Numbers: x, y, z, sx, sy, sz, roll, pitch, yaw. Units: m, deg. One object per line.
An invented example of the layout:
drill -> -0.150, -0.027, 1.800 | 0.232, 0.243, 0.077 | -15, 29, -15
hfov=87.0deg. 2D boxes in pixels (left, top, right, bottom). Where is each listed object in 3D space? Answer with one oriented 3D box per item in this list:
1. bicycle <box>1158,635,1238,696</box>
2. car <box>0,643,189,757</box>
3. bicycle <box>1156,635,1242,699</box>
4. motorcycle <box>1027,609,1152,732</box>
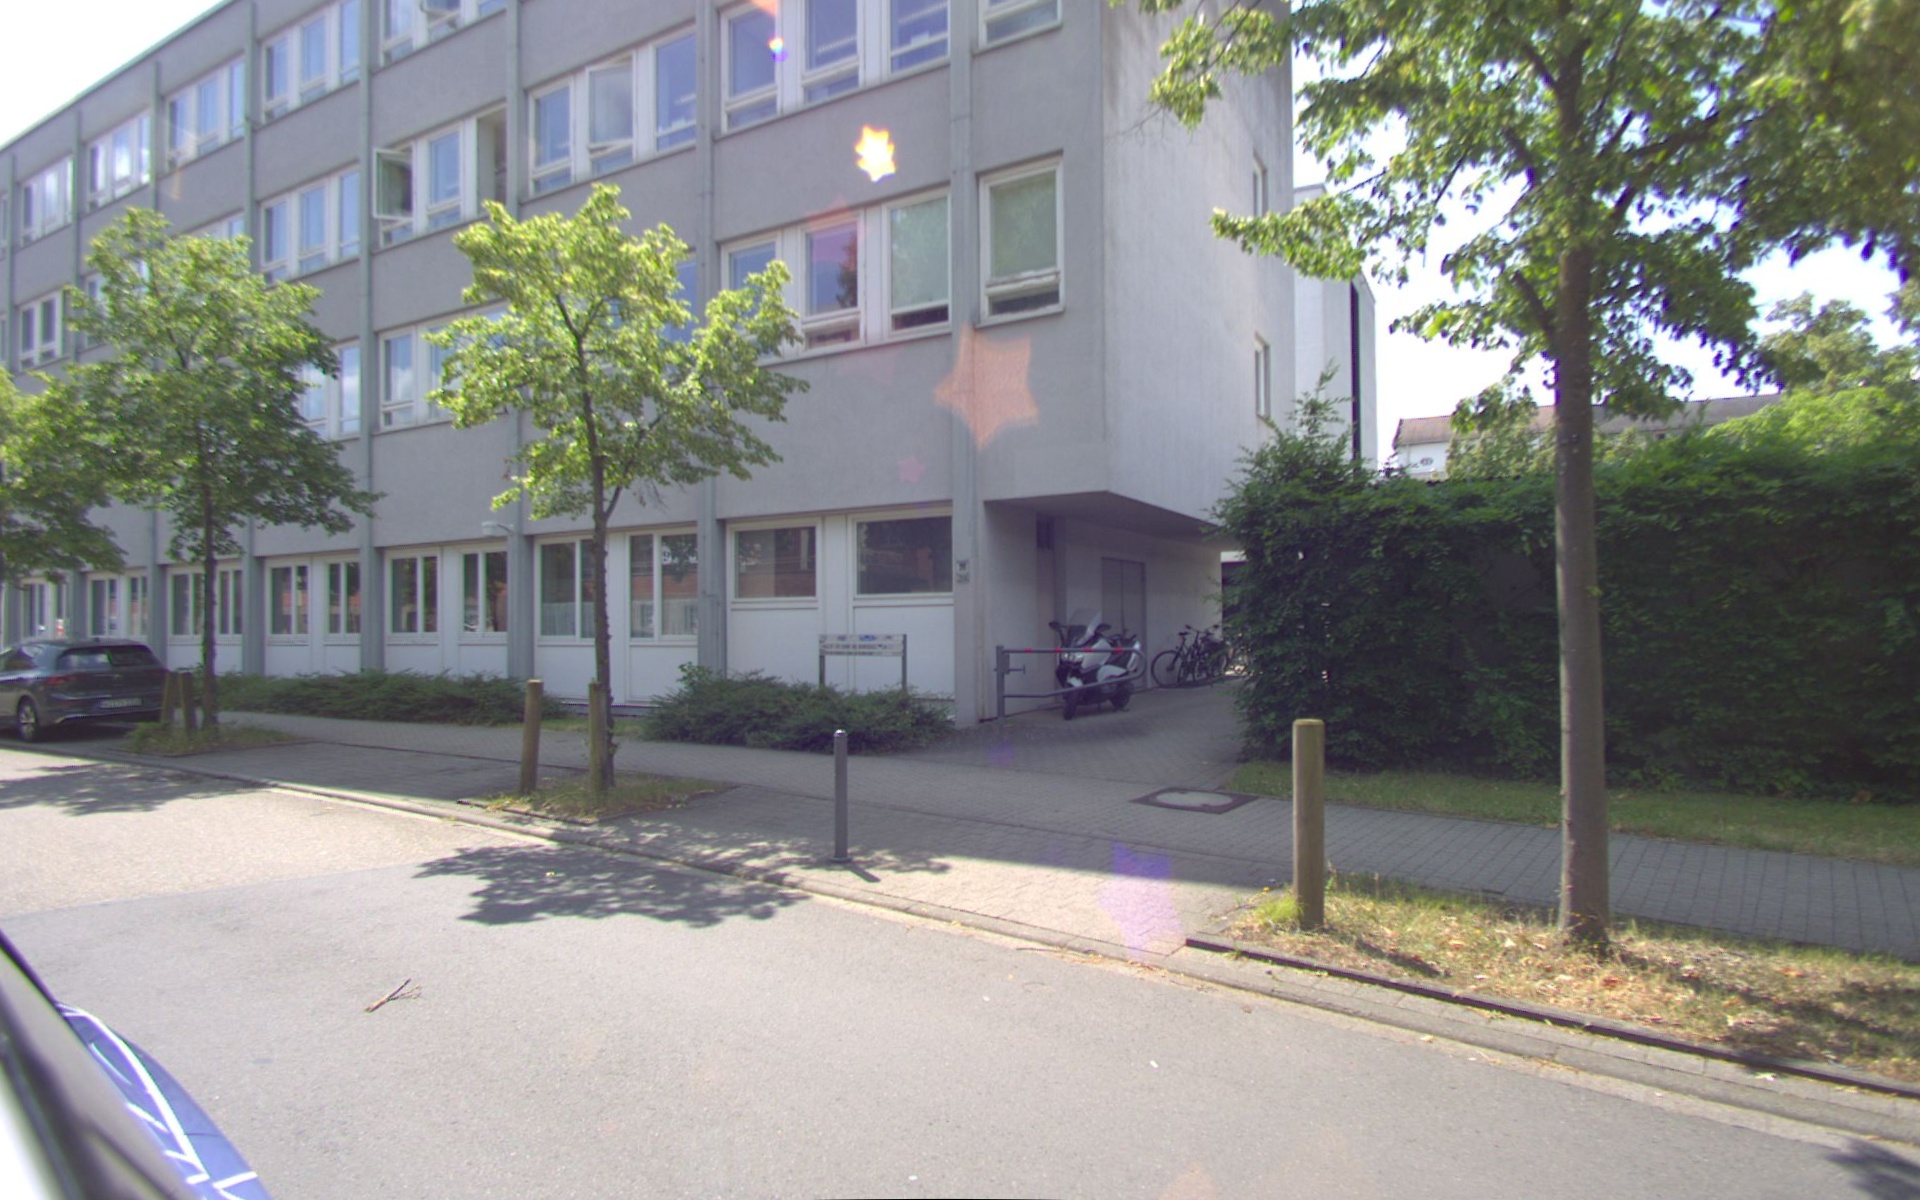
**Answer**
bicycle -> 4.761, 1.289, 20.173 | 1.864, 1.130, 0.582 | 0, -2, -42
car -> -13.982, 1.449, 15.582 | 4.239, 1.472, 1.767 | -2, 0, 28
bicycle -> 4.559, 1.249, 19.209 | 2.019, 1.130, 0.523 | 0, -2, -42
motorcycle -> 1.840, 0.927, 14.057 | 1.076, 1.562, 2.083 | -2, -2, 26
